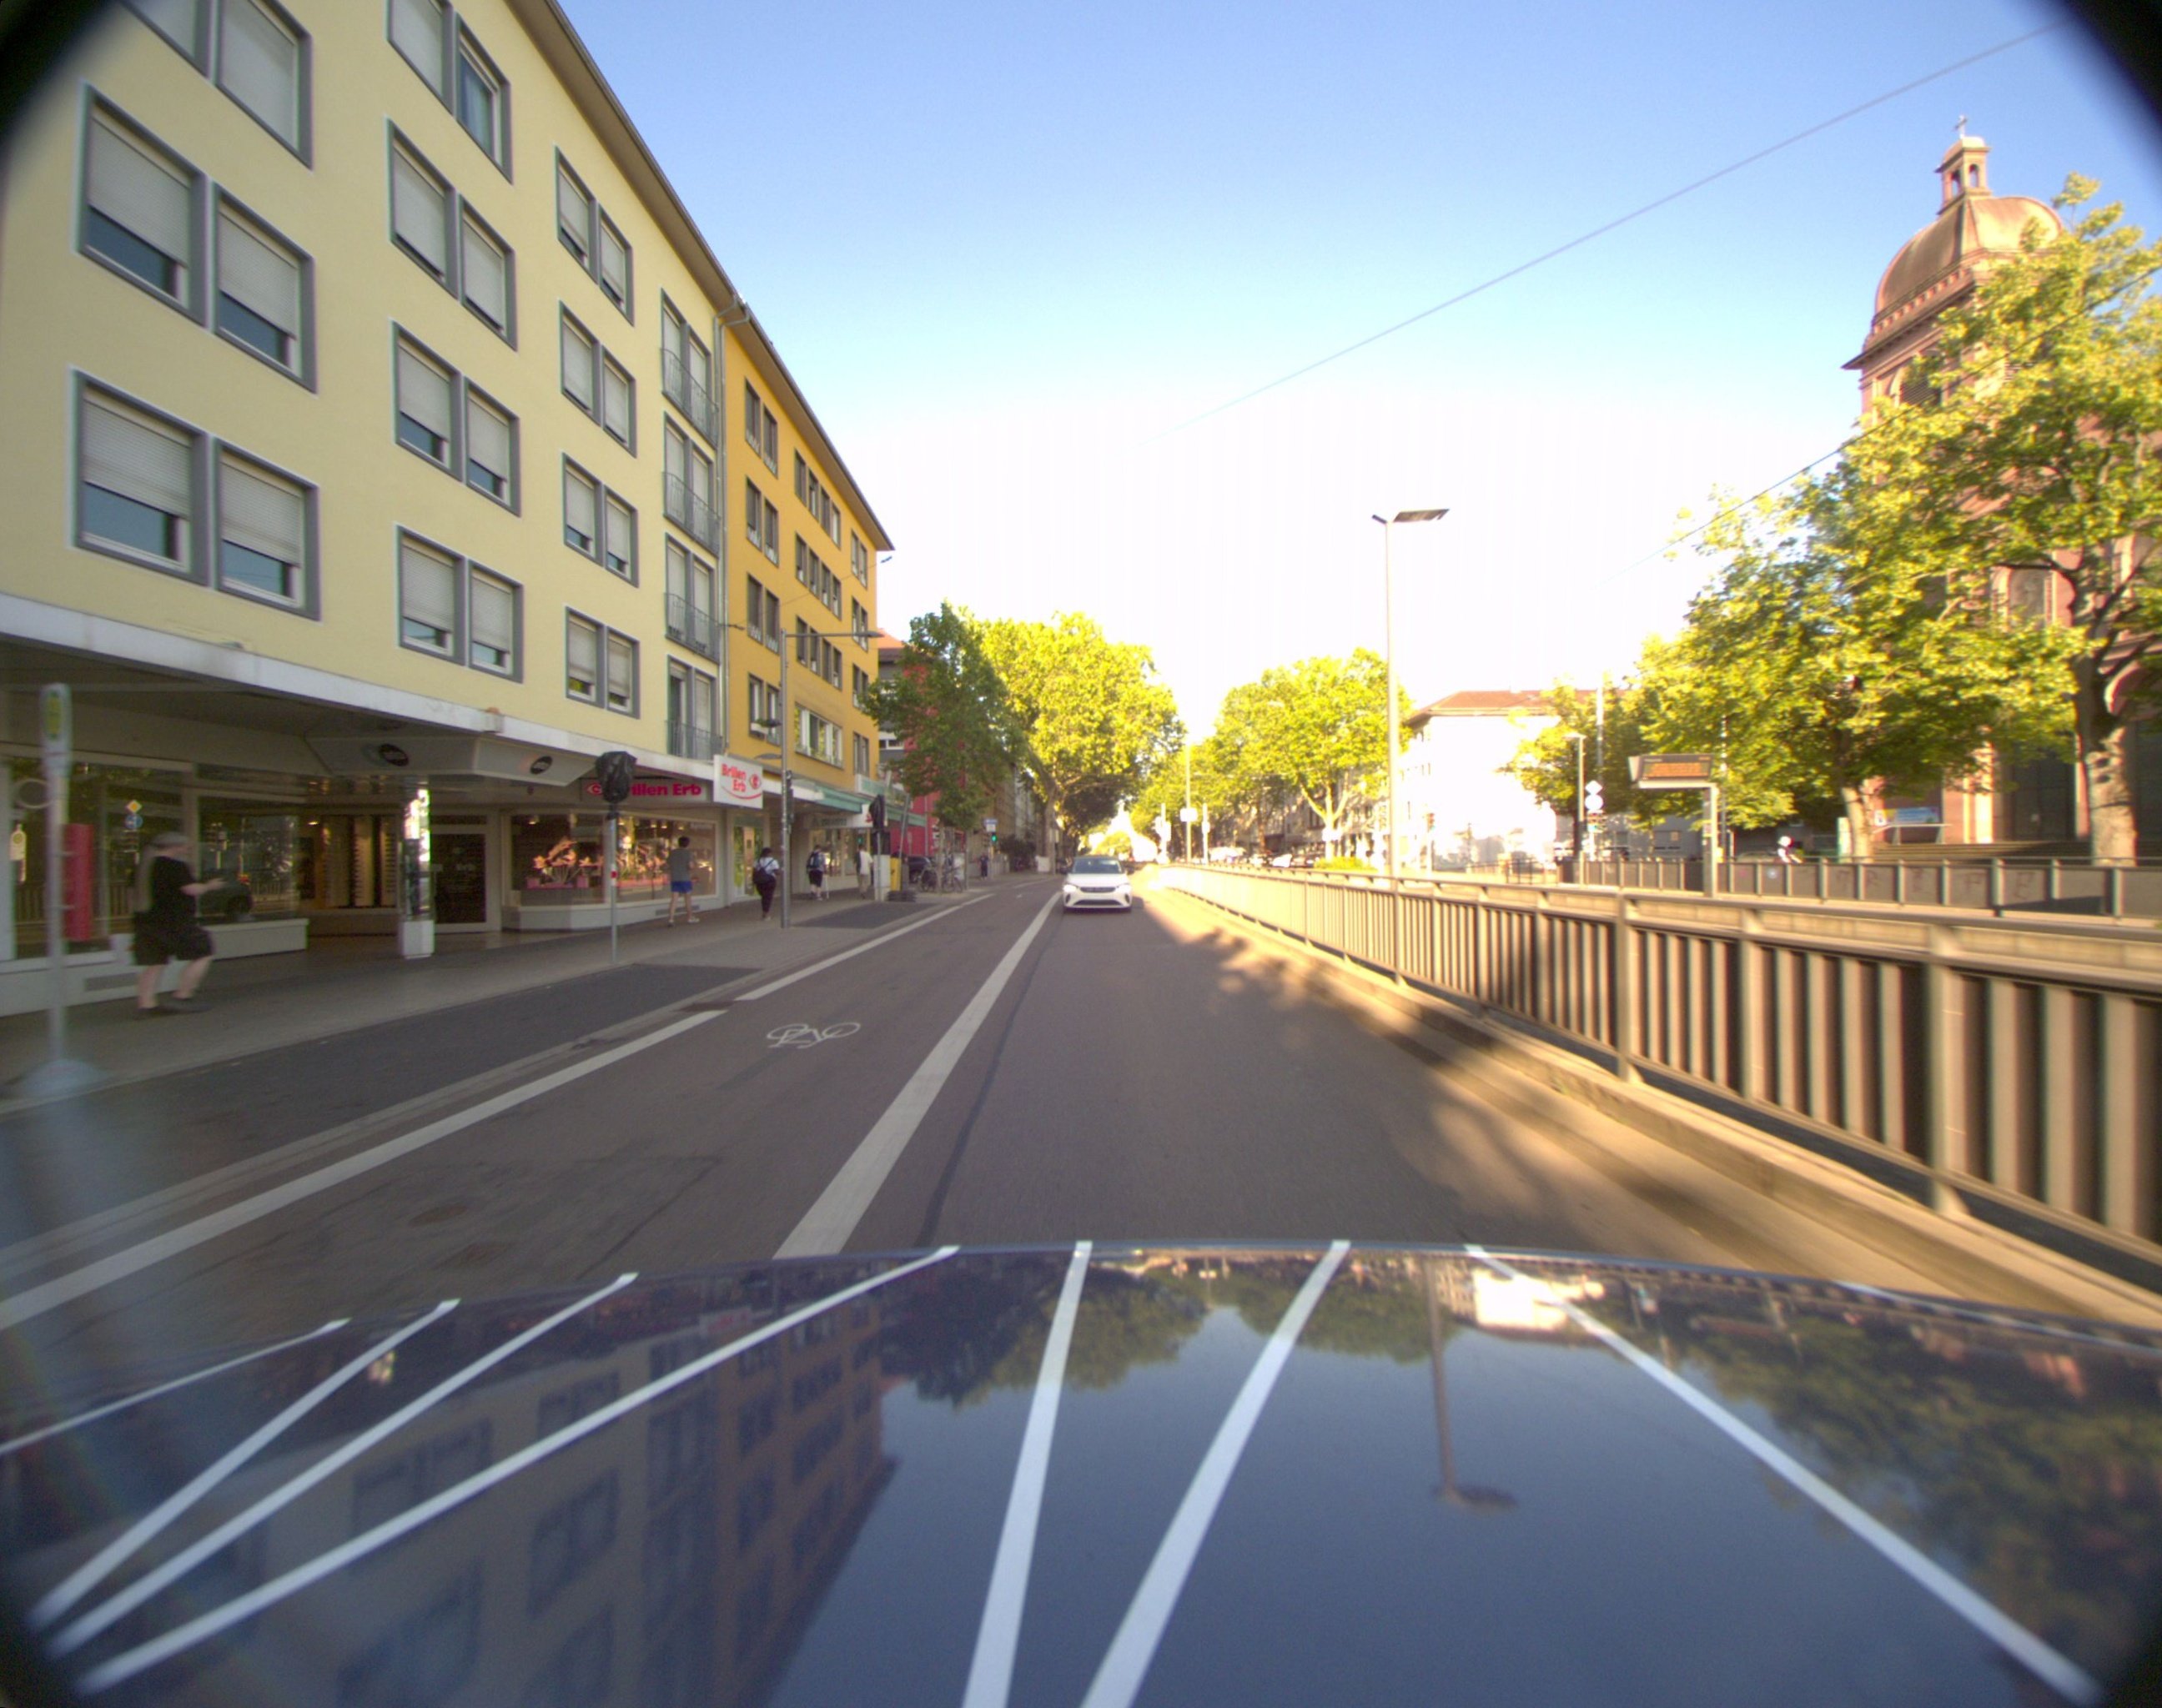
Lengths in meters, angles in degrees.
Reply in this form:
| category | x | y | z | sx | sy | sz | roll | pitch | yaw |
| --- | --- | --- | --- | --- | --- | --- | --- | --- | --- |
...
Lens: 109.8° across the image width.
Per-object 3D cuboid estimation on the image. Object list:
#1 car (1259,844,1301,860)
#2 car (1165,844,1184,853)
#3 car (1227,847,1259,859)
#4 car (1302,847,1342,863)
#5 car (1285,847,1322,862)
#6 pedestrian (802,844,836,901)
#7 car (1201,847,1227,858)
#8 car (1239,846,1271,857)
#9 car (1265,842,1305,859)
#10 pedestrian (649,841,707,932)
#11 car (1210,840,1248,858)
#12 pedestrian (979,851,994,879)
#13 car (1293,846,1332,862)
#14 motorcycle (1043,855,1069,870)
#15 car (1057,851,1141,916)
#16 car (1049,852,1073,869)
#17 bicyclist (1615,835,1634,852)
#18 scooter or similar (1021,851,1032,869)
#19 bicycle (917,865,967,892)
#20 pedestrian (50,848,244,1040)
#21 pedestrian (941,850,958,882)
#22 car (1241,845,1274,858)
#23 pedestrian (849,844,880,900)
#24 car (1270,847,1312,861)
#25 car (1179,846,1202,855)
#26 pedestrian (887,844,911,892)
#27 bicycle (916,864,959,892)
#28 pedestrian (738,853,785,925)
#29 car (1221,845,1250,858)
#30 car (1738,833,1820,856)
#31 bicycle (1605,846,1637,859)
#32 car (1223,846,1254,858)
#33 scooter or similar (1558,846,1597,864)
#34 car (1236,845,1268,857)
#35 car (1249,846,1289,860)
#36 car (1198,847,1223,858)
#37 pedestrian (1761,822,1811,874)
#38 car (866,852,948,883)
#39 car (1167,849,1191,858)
| category | x | y | z | sx | sy | sz | roll | pitch | yaw |
| --- | --- | --- | --- | --- | --- | --- | --- | --- | --- |
| car | 21.919 | -0.227 | 83.802 | 4.265 | 1.674 | 2.148 | -1 | 0 | -34 |
| car | 23.601 | -1.404 | 191.884 | 4.951 | 2.200 | 2.096 | -1 | 1 | -41 |
| car | 22.899 | -0.141 | 107.243 | 4.003 | 1.509 | 1.997 | -1 | 0 | -19 |
| car | 22.679 | 0.053 | 71.469 | 3.979 | 1.423 | 1.767 | -1 | 0 | -42 |
| car | 22.839 | 0.018 | 77.962 | 3.979 | 1.495 | 1.827 | -1 | 0 | -42 |
| pedestrian | -7.979 | 0.552 | 23.164 | 0.725 | 1.713 | 0.766 | -1 | 1 | 1 |
| car | 23.153 | -0.209 | 131.845 | 4.005 | 1.805 | 1.996 | -1 | 0 | -26 |
| car | 22.895 | -0.342 | 99.766 | 4.265 | 1.451 | 1.598 | -1 | 0 | -35 |
| car | 23.463 | -0.410 | 87.305 | 4.259 | 1.932 | 1.514 | -1 | 1 | -14 |
| pedestrian | -8.347 | 0.654 | 15.772 | 0.725 | 1.829 | 0.766 | -1 | 1 | 1 |
| car | 23.355 | -0.830 | 119.670 | 5.619 | 2.684 | 2.176 | -1 | 1 | -23 |
| pedestrian | -5.691 | 0.660 | 45.889 | 0.728 | 1.701 | 0.816 | 1 | 1 | 1 |
| car | 22.771 | 0.008 | 74.672 | 3.979 | 1.424 | 1.738 | -1 | -1 | -42 |
| motorcycle | -1.915 | 0.647 | 58.584 | 1.895 | 1.104 | 0.783 | 2 | -1 | -42 |
| car | 0.415 | 0.667 | 19.235 | 1.865 | 1.394 | 3.932 | -2 | 0 | 0 |
| car | -1.688 | 0.538 | 66.009 | 1.802 | 1.393 | 4.370 | 1 | 0 | 1 |
| bicyclist | 41.435 | -0.796 | 57.908 | 0.968 | 1.323 | 0.633 | -1 | 1 | 2 |
| scooter or similar | -4.662 | 0.473 | 64.836 | 0.666 | 1.461 | 2.545 | -1 | 0 | 1 |
| bicycle | -5.311 | 0.933 | 29.137 | 1.803 | 1.002 | 0.541 | 1 | 1 | -2 |
| pedestrian | -8.367 | 0.769 | 6.845 | 0.725 | 1.623 | 0.766 | -1 | 1 | 1 |
| pedestrian | -7.407 | 0.670 | 42.728 | 0.745 | 1.769 | 0.895 | -1 | 0 | 1 |
| car | 22.348 | -0.298 | 95.969 | 4.266 | 1.605 | 1.902 | -2 | 1 | -41 |
| pedestrian | -6.972 | 0.558 | 24.495 | 0.725 | 1.769 | 0.766 | -1 | 1 | 1 |
| car | 22.303 | 0.002 | 80.579 | 4.266 | 1.369 | 2.147 | -1 | 0 | -39 |
| car | 21.080 | -0.623 | 146.322 | 4.234 | 1.696 | 1.999 | -1 | 0 | -3 |
| pedestrian | -7.032 | 0.525 | 29.394 | 0.725 | 1.796 | 0.766 | -1 | 1 | 1 |
| bicycle | -5.391 | 0.893 | 28.552 | 1.486 | 1.002 | 0.454 | -1 | 1 | -2 |
| pedestrian | -7.178 | 0.775 | 17.106 | 0.611 | 1.569 | 0.851 | -1 | 1 | 4 |
| car | 23.757 | -0.386 | 116.662 | 4.005 | 1.805 | 1.995 | 0 | 1 | -26 |
| car | 46.266 | -0.624 | 50.460 | 1.815 | 1.390 | 4.001 | -1 | -1 | 1 |
| bicycle | 41.167 | -0.116 | 57.935 | 1.987 | 0.974 | 0.633 | -1 | 1 | 2 |
| car | 22.848 | -0.252 | 110.371 | 4.005 | 1.608 | 1.996 | -1 | 0 | -26 |
| scooter or similar | 33.474 | 0.066 | 51.265 | 1.096 | 1.119 | 2.449 | -1 | -2 | 1 |
| car | 23.170 | -0.413 | 103.039 | 4.265 | 1.449 | 1.903 | -1 | 0 | -35 |
| car | 21.928 | -0.160 | 88.739 | 4.259 | 1.548 | 1.641 | -1 | 0 | -14 |
| car | 23.017 | -0.213 | 135.120 | 4.005 | 1.805 | 1.996 | -1 | 0 | -26 |
| pedestrian | 24.225 | -0.201 | 26.123 | 0.921 | 1.750 | 0.832 | -2 | 2 | 3 |
| car | -10.081 | 0.750 | 44.248 | 4.352 | 1.677 | 1.772 | -1 | 1 | 0 |
| car | 18.695 | -0.134 | 145.126 | 4.005 | 1.696 | 1.996 | -1 | 0 | -26 |
